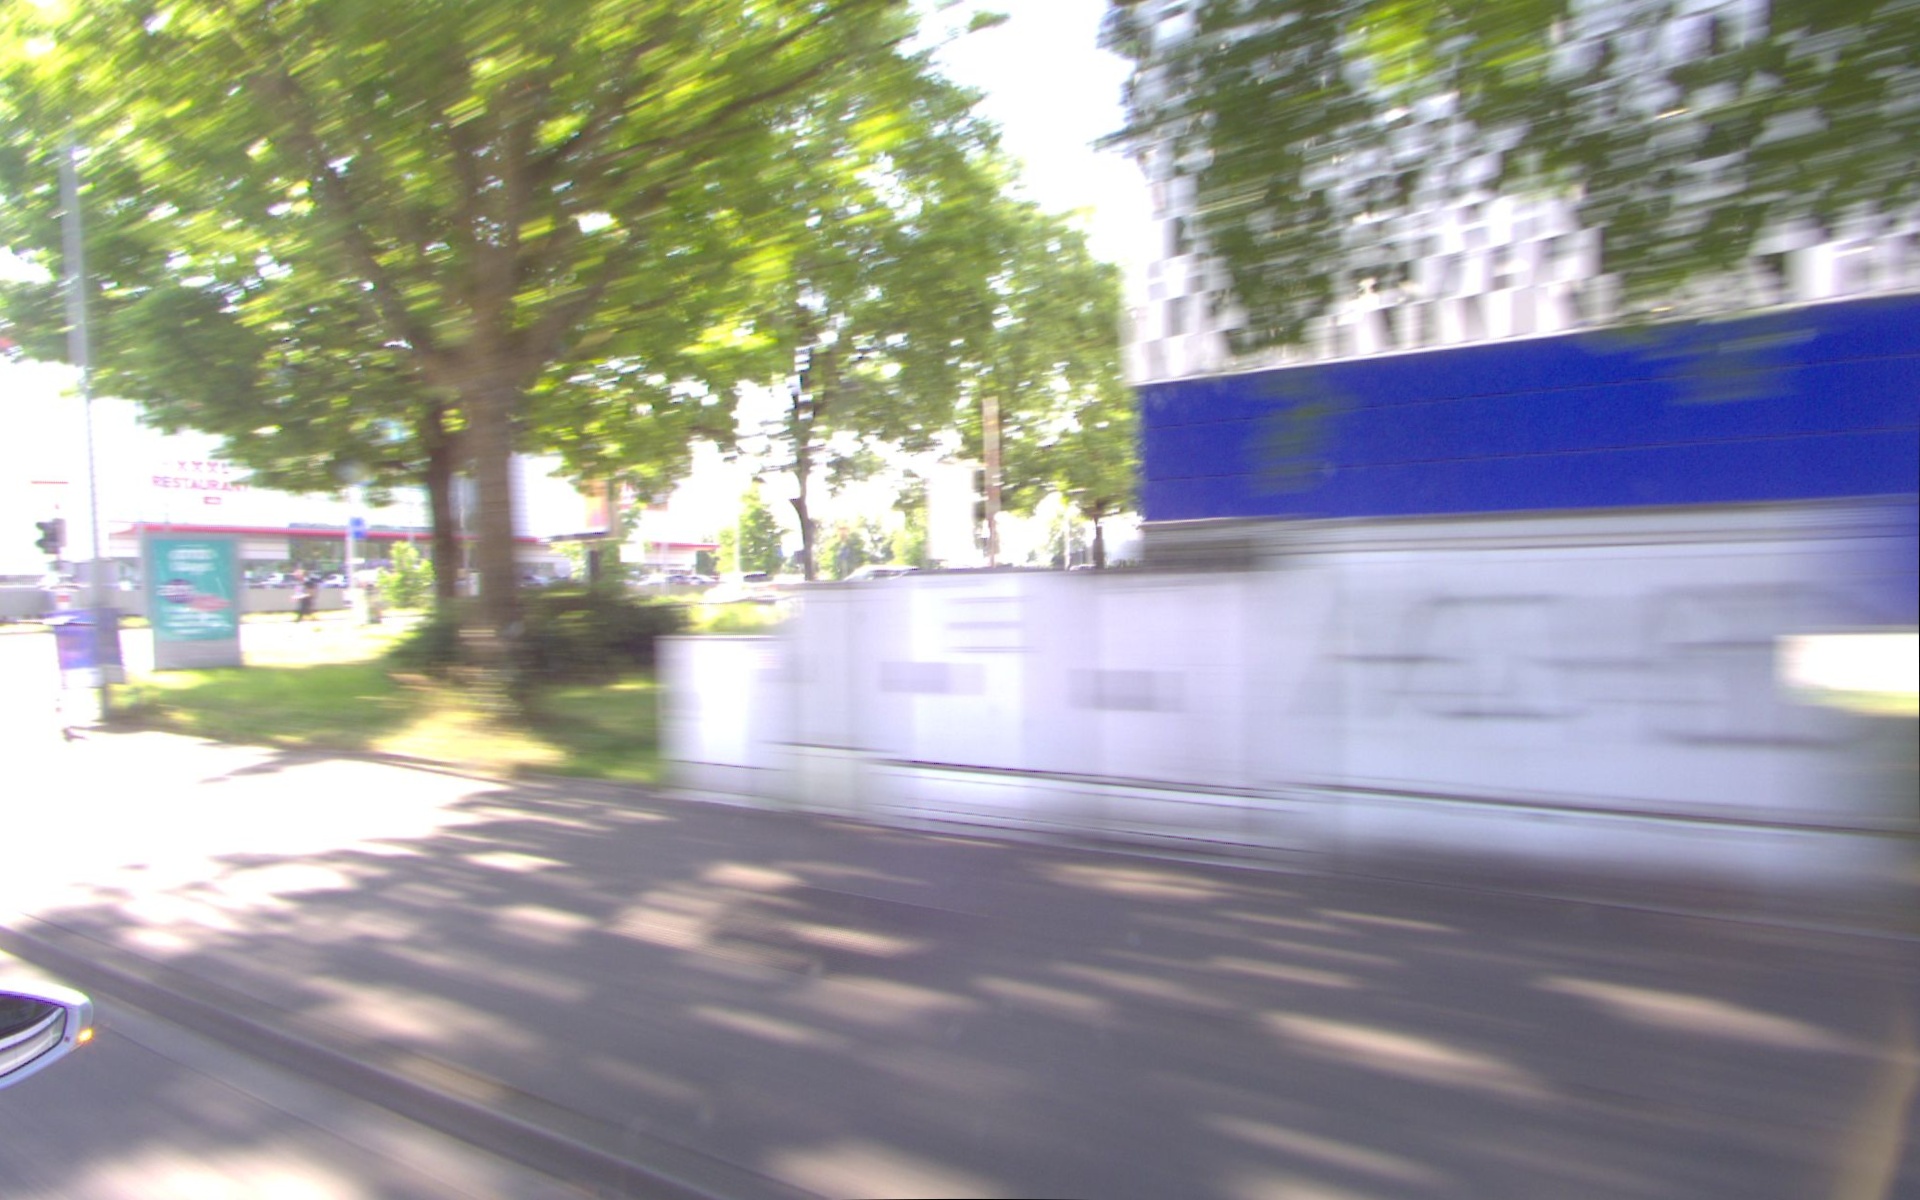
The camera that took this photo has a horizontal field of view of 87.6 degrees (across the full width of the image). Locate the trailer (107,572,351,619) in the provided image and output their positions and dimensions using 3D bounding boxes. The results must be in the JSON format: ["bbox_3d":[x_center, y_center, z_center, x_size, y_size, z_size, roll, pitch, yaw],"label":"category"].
[{"bbox_3d":[-42.613,-0.151,59.162,1.970,2.502,11.856,2,0,30],"label":"trailer"}]

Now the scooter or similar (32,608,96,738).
[{"bbox_3d":[-9.263,0.717,10.339,1.297,1.250,0.349,0,3,44],"label":"scooter or similar"}]

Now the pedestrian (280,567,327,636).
[{"bbox_3d":[-17.328,0.038,26.422,0.791,1.794,0.627,0,2,20],"label":"pedestrian"}]

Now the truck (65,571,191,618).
[{"bbox_3d":[-45.256,-0.254,54.588,1.970,2.456,4.874,2,0,30],"label":"truck"}]

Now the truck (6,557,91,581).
[{"bbox_3d":[-89.930,-3.050,98.879,1.971,2.040,5.899,1,0,32],"label":"truck"}]

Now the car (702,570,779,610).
[{"bbox_3d":[-8.921,-0.407,40.441,1.768,1.509,3.901,-2,1,-33],"label":"car"}]

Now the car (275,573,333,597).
[{"bbox_3d":[-59.553,-1.347,90.976,1.969,2.040,3.984,1,0,28],"label":"car"}]

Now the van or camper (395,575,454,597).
[{"bbox_3d":[-53.520,-1.408,100.134,1.969,2.040,4.979,1,0,29],"label":"van or camper"}]

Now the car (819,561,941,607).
[{"bbox_3d":[-2.761,-0.532,34.457,3.866,1.509,1.784,0,1,29],"label":"car"}]
